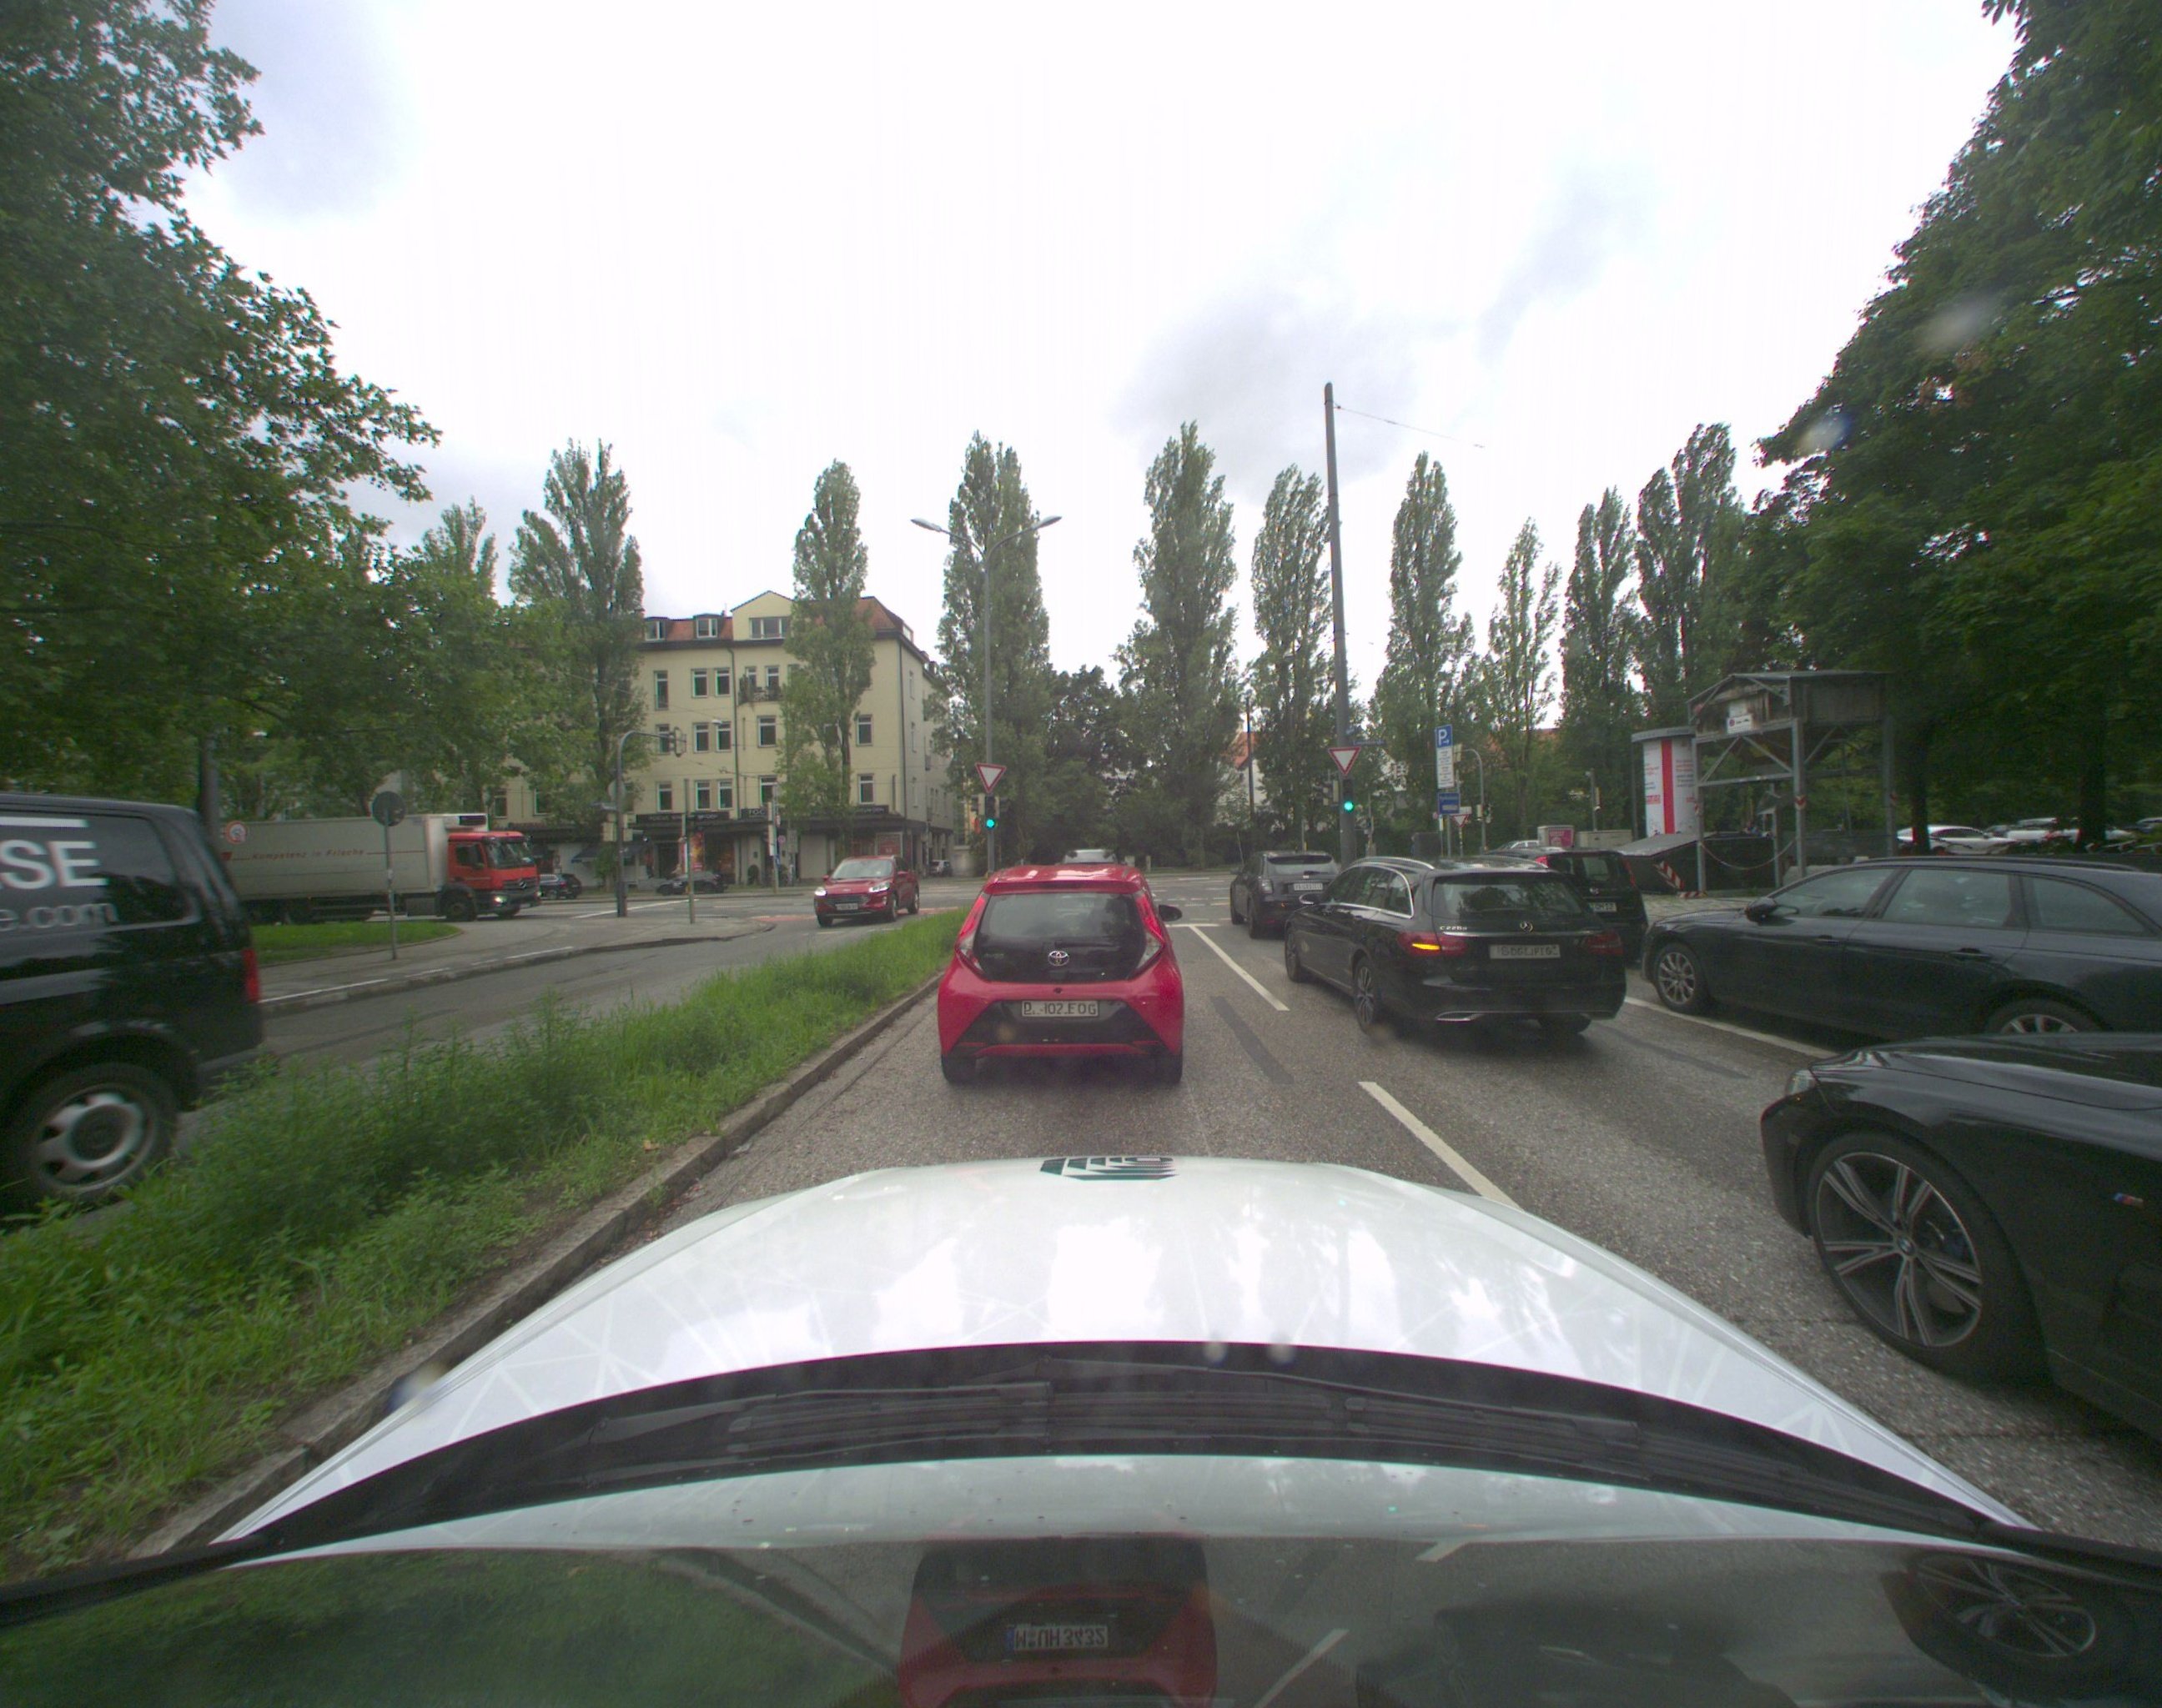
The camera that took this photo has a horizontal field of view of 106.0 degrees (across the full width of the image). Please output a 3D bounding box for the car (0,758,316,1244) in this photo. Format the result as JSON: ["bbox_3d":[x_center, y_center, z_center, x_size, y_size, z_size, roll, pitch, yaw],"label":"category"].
[{"bbox_3d":[-5.394,0.636,2.321,1.850,1.990,4.706,-2,0,1],"label":"car"}]

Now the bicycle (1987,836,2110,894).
[{"bbox_3d":[15.306,0.179,12.898,1.400,0.894,0.314,-1,-1,8],"label":"bicycle"}]

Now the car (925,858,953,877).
[{"bbox_3d":[-12.144,1.130,69.645,1.721,1.442,3.997,-2,0,-2],"label":"car"}]

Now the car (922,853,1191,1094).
[{"bbox_3d":[-0.064,0.743,6.738,1.622,1.440,3.379,-2,0,3],"label":"car"}]

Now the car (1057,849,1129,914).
[{"bbox_3d":[0.430,0.678,22.406,1.728,1.549,4.580,-2,0,3],"label":"car"}]

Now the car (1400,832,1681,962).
[{"bbox_3d":[6.558,0.524,12.332,1.823,1.549,4.558,-2,0,3],"label":"car"}]

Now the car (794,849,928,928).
[{"bbox_3d":[-5.509,0.776,21.162,2.097,1.637,4.938,-3,1,0],"label":"car"}]

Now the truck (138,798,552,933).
[{"bbox_3d":[-25.119,0.363,28.173,11.636,3.980,2.749,-2,1,1],"label":"truck"}]

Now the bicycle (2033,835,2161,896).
[{"bbox_3d":[15.202,0.172,12.178,1.400,0.894,0.314,-1,-1,8],"label":"bicycle"}]

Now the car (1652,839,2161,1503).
[{"bbox_3d":[3.138,0.677,0.917,1.717,1.389,4.801,-2,0,2],"label":"car"}]

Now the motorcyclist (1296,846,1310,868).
[{"bbox_3d":[14.365,0.203,52.624,0.617,1.443,0.881,0,-1,-3],"label":"motorcyclist"}]

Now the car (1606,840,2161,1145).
[{"bbox_3d":[6.197,0.672,5.907,1.762,1.461,4.641,-2,0,0],"label":"car"}]

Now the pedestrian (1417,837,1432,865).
[{"bbox_3d":[20.681,-0.154,49.062,0.693,1.662,0.555,-1,-1,42],"label":"pedestrian"}]

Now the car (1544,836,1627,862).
[{"bbox_3d":[32.477,-0.304,52.472,4.231,1.486,1.786,-2,-1,0],"label":"car"}]

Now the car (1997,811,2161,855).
[{"bbox_3d":[37.150,-0.768,30.300,4.351,1.407,1.729,-2,0,-4],"label":"car"}]

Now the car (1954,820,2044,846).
[{"bbox_3d":[61.247,-1.377,54.377,4.117,1.486,1.784,-2,-1,-3],"label":"car"}]

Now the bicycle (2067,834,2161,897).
[{"bbox_3d":[15.177,0.168,11.724,1.400,0.894,0.314,-1,-1,8],"label":"bicycle"}]

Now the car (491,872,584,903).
[{"bbox_3d":[-33.048,2.017,49.554,4.440,1.612,1.727,-2,0,0],"label":"car"}]

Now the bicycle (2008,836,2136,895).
[{"bbox_3d":[15.252,0.176,12.550,1.400,0.894,0.314,-1,-1,8],"label":"bicycle"}]

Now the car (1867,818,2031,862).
[{"bbox_3d":[31.737,-0.493,29.837,4.351,1.407,1.729,-2,0,-4],"label":"car"}]

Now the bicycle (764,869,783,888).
[{"bbox_3d":[-20.356,1.603,53.964,0.493,1.185,1.888,-2,0,-1],"label":"bicycle"}]

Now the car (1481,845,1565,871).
[{"bbox_3d":[28.011,0.260,51.668,4.324,1.486,1.786,-2,-1,0],"label":"car"}]

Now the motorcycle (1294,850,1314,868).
[{"bbox_3d":[14.375,0.337,52.566,0.627,1.169,2.027,0,-1,-3],"label":"motorcycle"}]

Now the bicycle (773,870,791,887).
[{"bbox_3d":[-19.830,1.606,54.007,0.493,1.082,1.888,-2,0,-1],"label":"bicycle"}]

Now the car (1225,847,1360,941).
[{"bbox_3d":[3.825,0.666,15.396,1.772,1.486,4.005,-2,0,5],"label":"car"}]

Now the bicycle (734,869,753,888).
[{"bbox_3d":[-22.402,1.646,54.083,0.493,1.185,1.888,-2,0,-1],"label":"bicycle"}]

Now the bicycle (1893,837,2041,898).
[{"bbox_3d":[15.484,0.231,14.245,2.232,1.016,0.628,0,-1,-10],"label":"bicycle"}]

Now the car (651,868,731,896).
[{"bbox_3d":[-23.854,1.693,49.877,3.977,1.466,1.803,-2,-1,-3],"label":"car"}]

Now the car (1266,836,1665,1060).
[{"bbox_3d":[3.212,0.653,8.026,1.856,1.549,4.706,0,0,2],"label":"car"}]

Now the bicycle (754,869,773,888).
[{"bbox_3d":[-21.052,1.609,54.052,0.493,1.185,1.888,-2,0,-1],"label":"bicycle"}]
